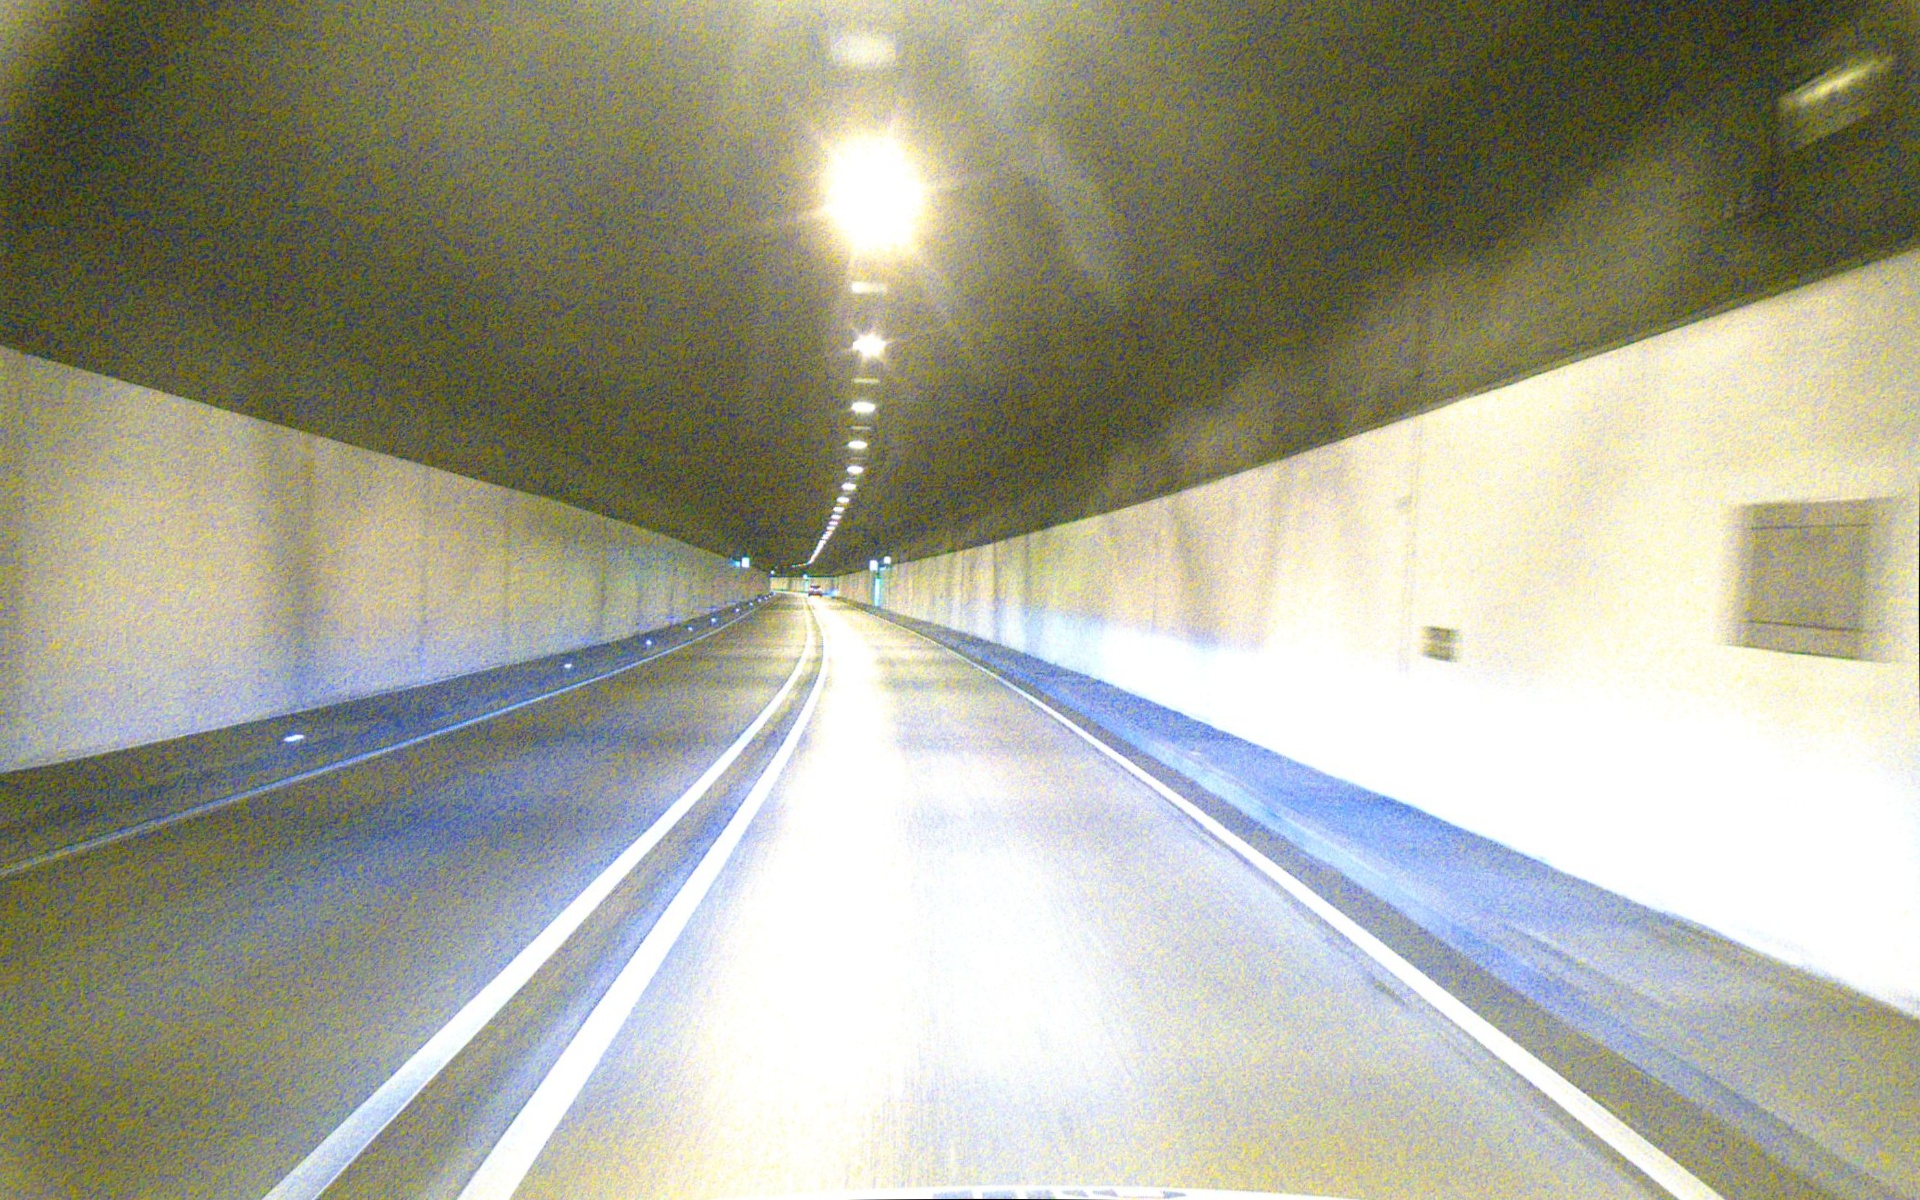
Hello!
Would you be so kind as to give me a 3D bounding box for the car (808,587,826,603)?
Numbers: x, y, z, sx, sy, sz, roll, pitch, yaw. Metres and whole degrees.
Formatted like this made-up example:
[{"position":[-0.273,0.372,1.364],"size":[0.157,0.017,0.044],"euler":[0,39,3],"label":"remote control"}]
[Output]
[{"position":[-18.984,-0.654,219.554],"size":[1.932,1.973,4.600],"euler":[2,-1,-11],"label":"car"}]
